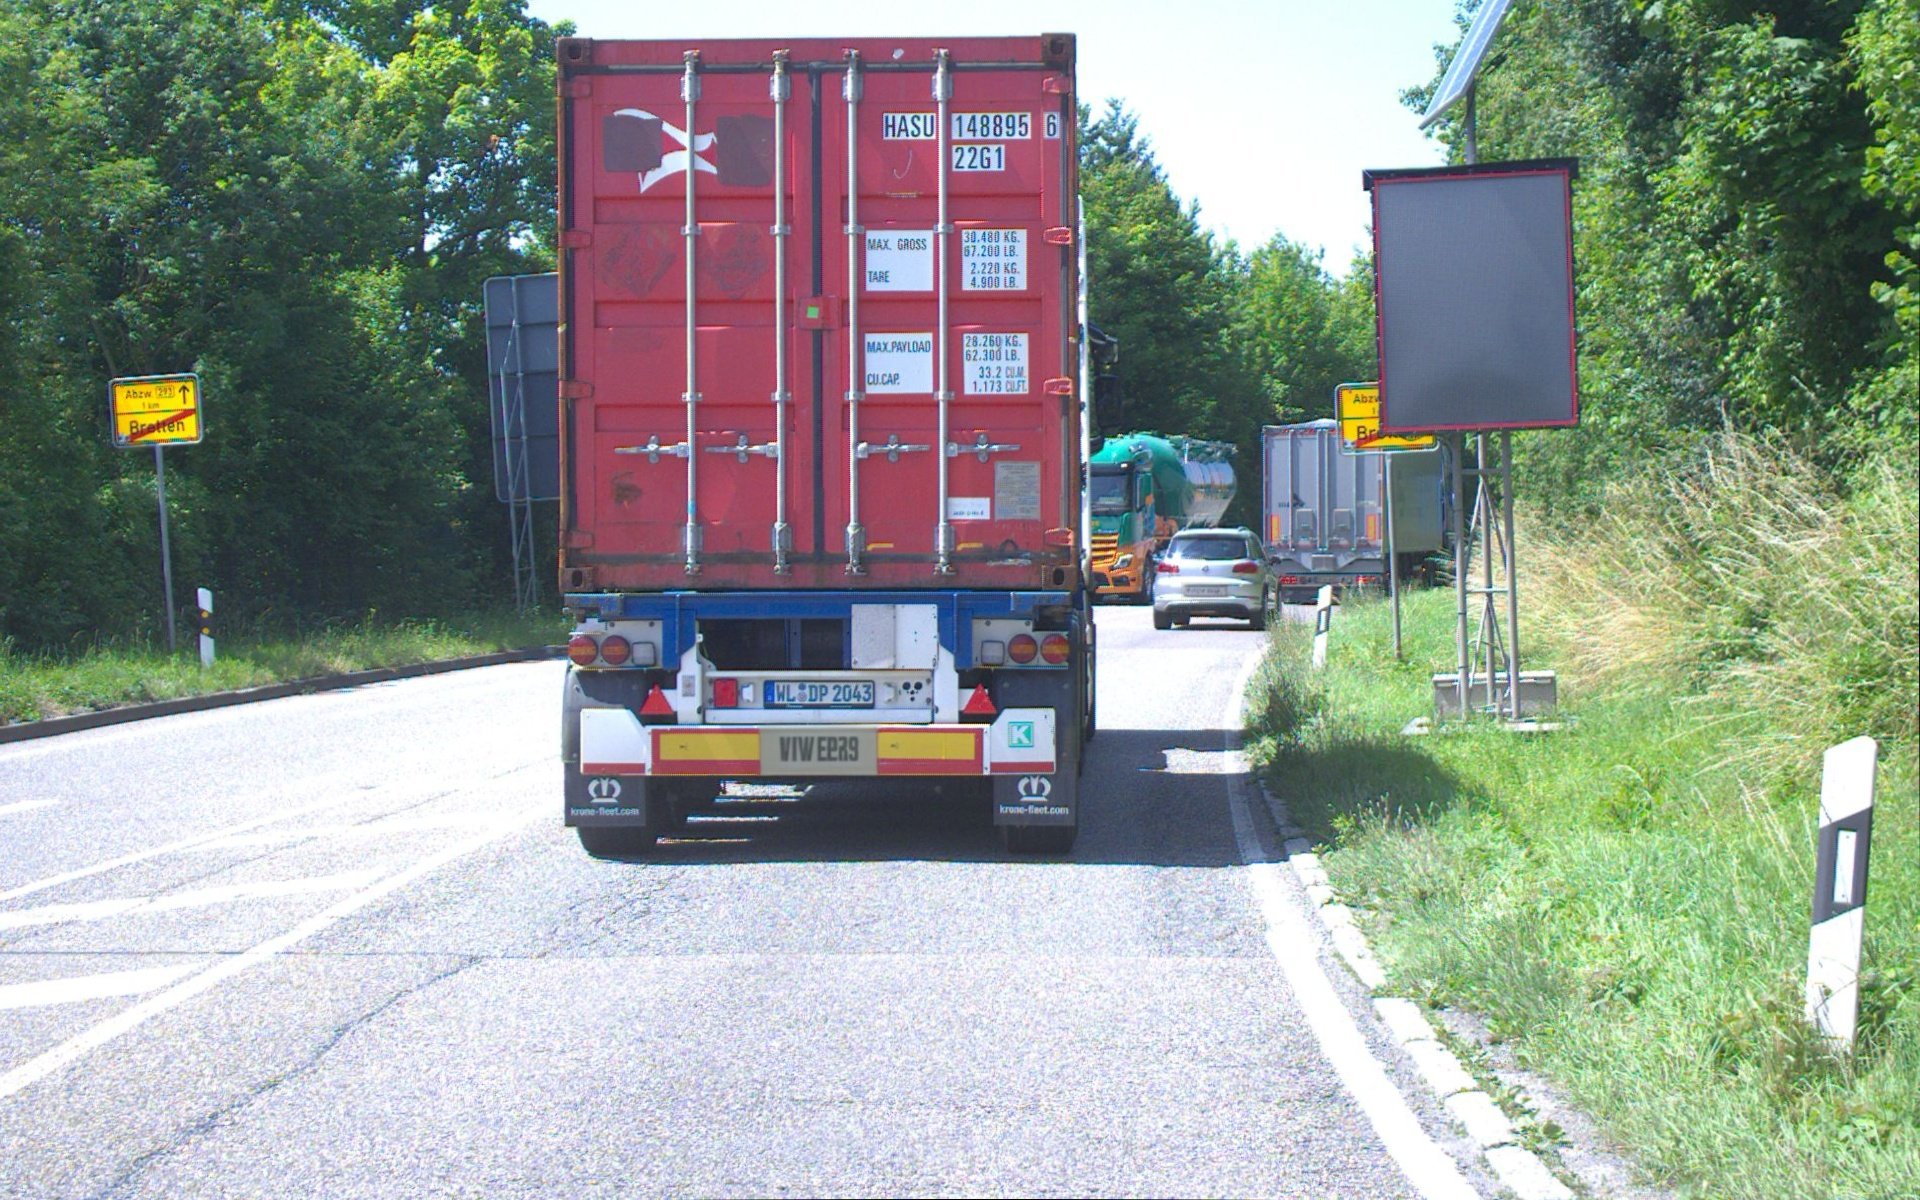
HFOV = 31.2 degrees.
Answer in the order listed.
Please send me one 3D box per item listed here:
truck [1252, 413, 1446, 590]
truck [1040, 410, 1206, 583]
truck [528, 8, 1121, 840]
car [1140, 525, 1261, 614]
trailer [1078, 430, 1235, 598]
[{"bbox_3d":[9.099,-2.181,78.882,2.923,3.704,13.352,0,1,13],"label":"truck"},{"bbox_3d":[3.750,-2.272,77.230,2.580,3.667,7.872,1,1,11],"label":"truck"},{"bbox_3d":[-0.321,-0.896,22.528,2.648,3.793,13.358,1,1,3],"label":"truck"},{"bbox_3d":[4.032,-0.529,57.240,1.833,1.428,3.999,0,1,7],"label":"car"},{"bbox_3d":[4.832,-2.041,82.913,2.579,3.806,8.911,1,1,11],"label":"trailer"}]
